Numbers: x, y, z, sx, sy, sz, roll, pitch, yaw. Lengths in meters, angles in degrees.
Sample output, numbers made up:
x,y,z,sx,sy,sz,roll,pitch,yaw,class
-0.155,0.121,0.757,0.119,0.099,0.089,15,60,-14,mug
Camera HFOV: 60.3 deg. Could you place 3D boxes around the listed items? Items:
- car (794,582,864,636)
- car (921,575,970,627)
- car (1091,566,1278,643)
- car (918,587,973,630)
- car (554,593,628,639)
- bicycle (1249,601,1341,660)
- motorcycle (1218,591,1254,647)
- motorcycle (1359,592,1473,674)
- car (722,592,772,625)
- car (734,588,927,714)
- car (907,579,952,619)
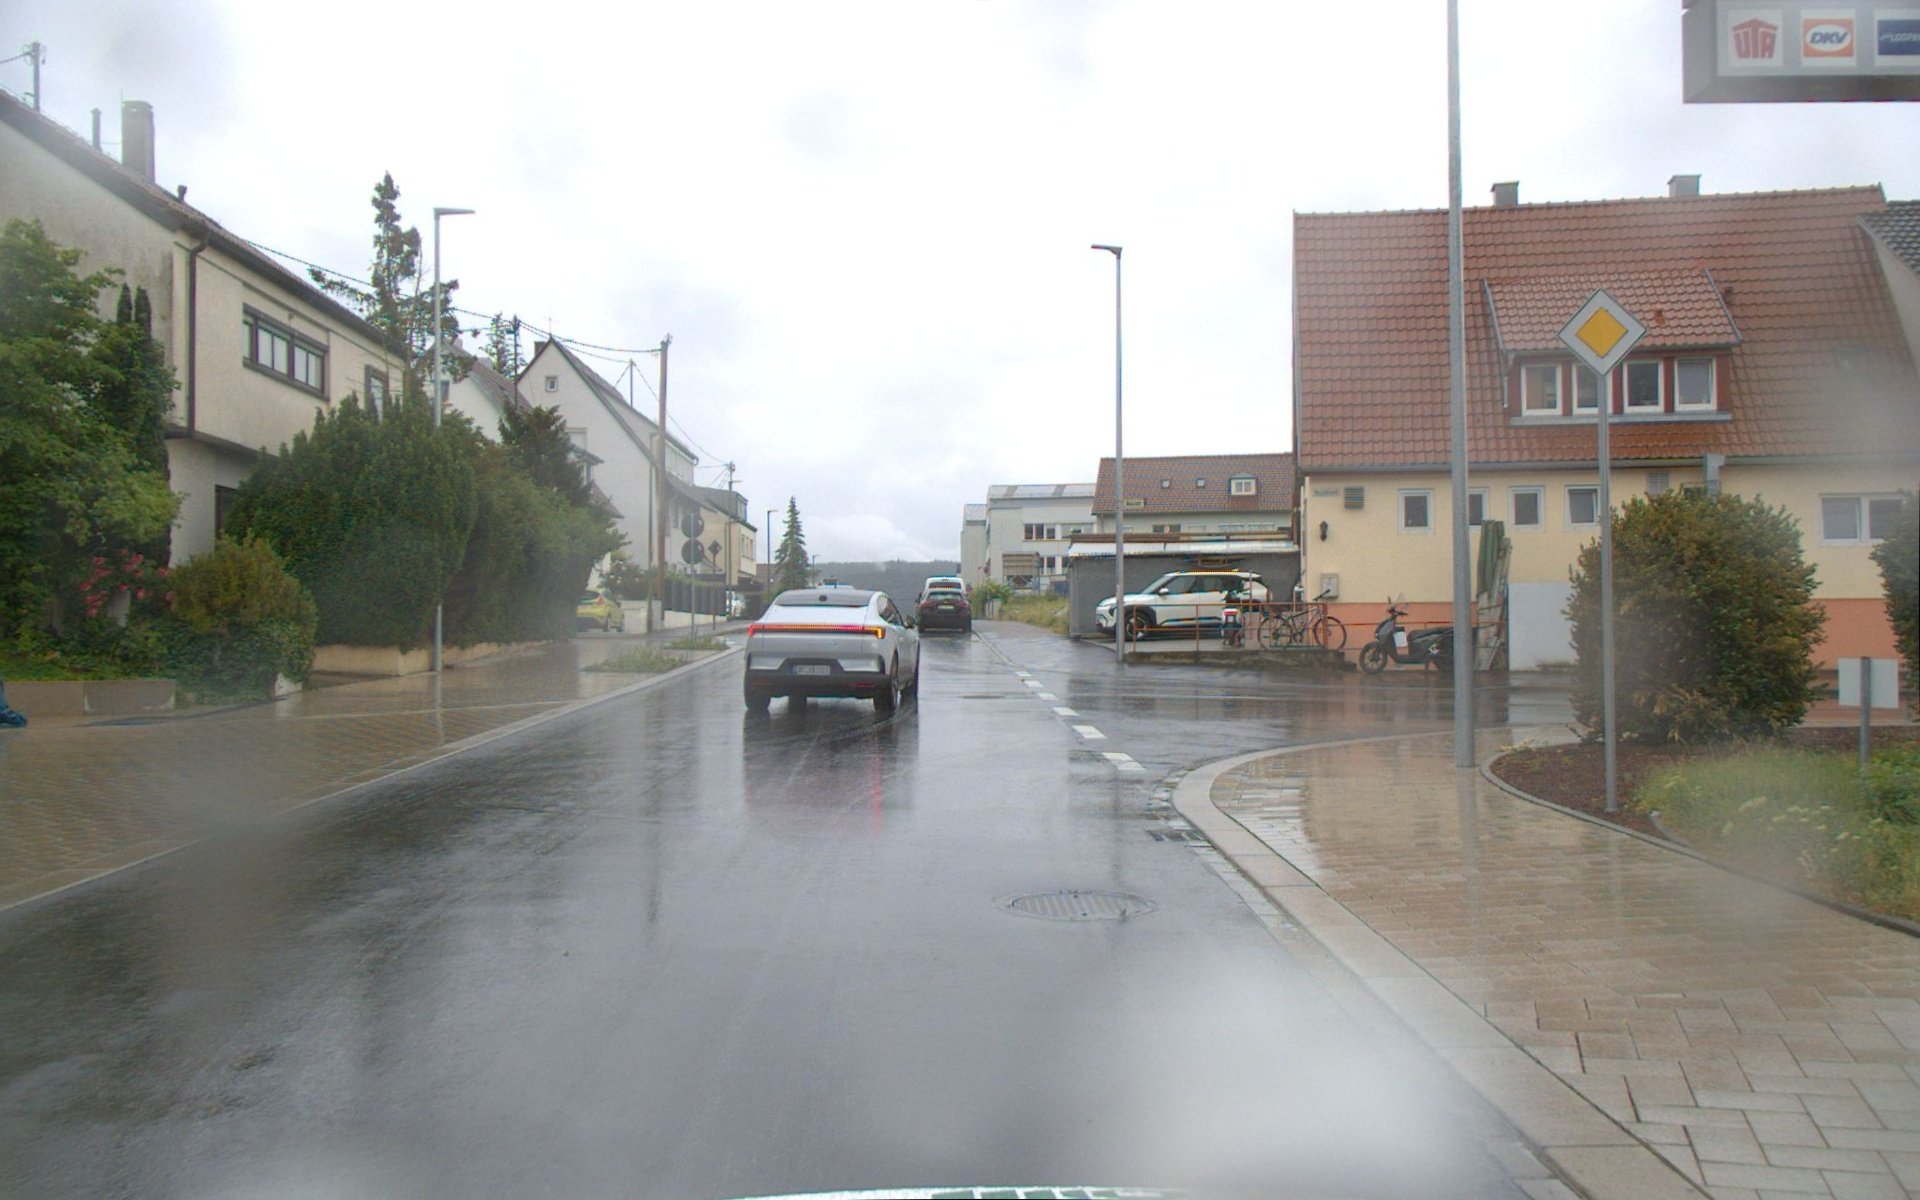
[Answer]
x,y,z,sx,sy,sz,roll,pitch,yaw,class
-3.932,0.274,50.216,1.890,1.566,4.319,1,0,-2,car
-0.589,0.051,62.462,1.733,1.857,4.572,1,0,-2,car
5.337,0.125,39.648,4.133,1.638,1.860,-2,-1,-3,car
-0.520,0.280,55.566,1.733,1.359,4.319,1,0,-2,car
-12.355,0.543,55.497,1.742,1.493,3.456,0,-1,-1,car
6.532,0.590,32.228,1.732,1.115,0.490,0,1,12,bicycle
5.670,0.374,34.051,0.477,1.115,2.001,0,1,3,motorcycle
8.426,0.601,30.608,1.989,1.482,0.489,0,-1,11,motorcycle
-10.787,0.427,83.993,1.953,1.536,4.894,3,-1,-1,car
-1.628,0.637,22.517,1.951,1.528,4.672,0,0,4,car
-1.306,-0.033,68.851,1.610,1.602,4.639,1,0,-4,car
